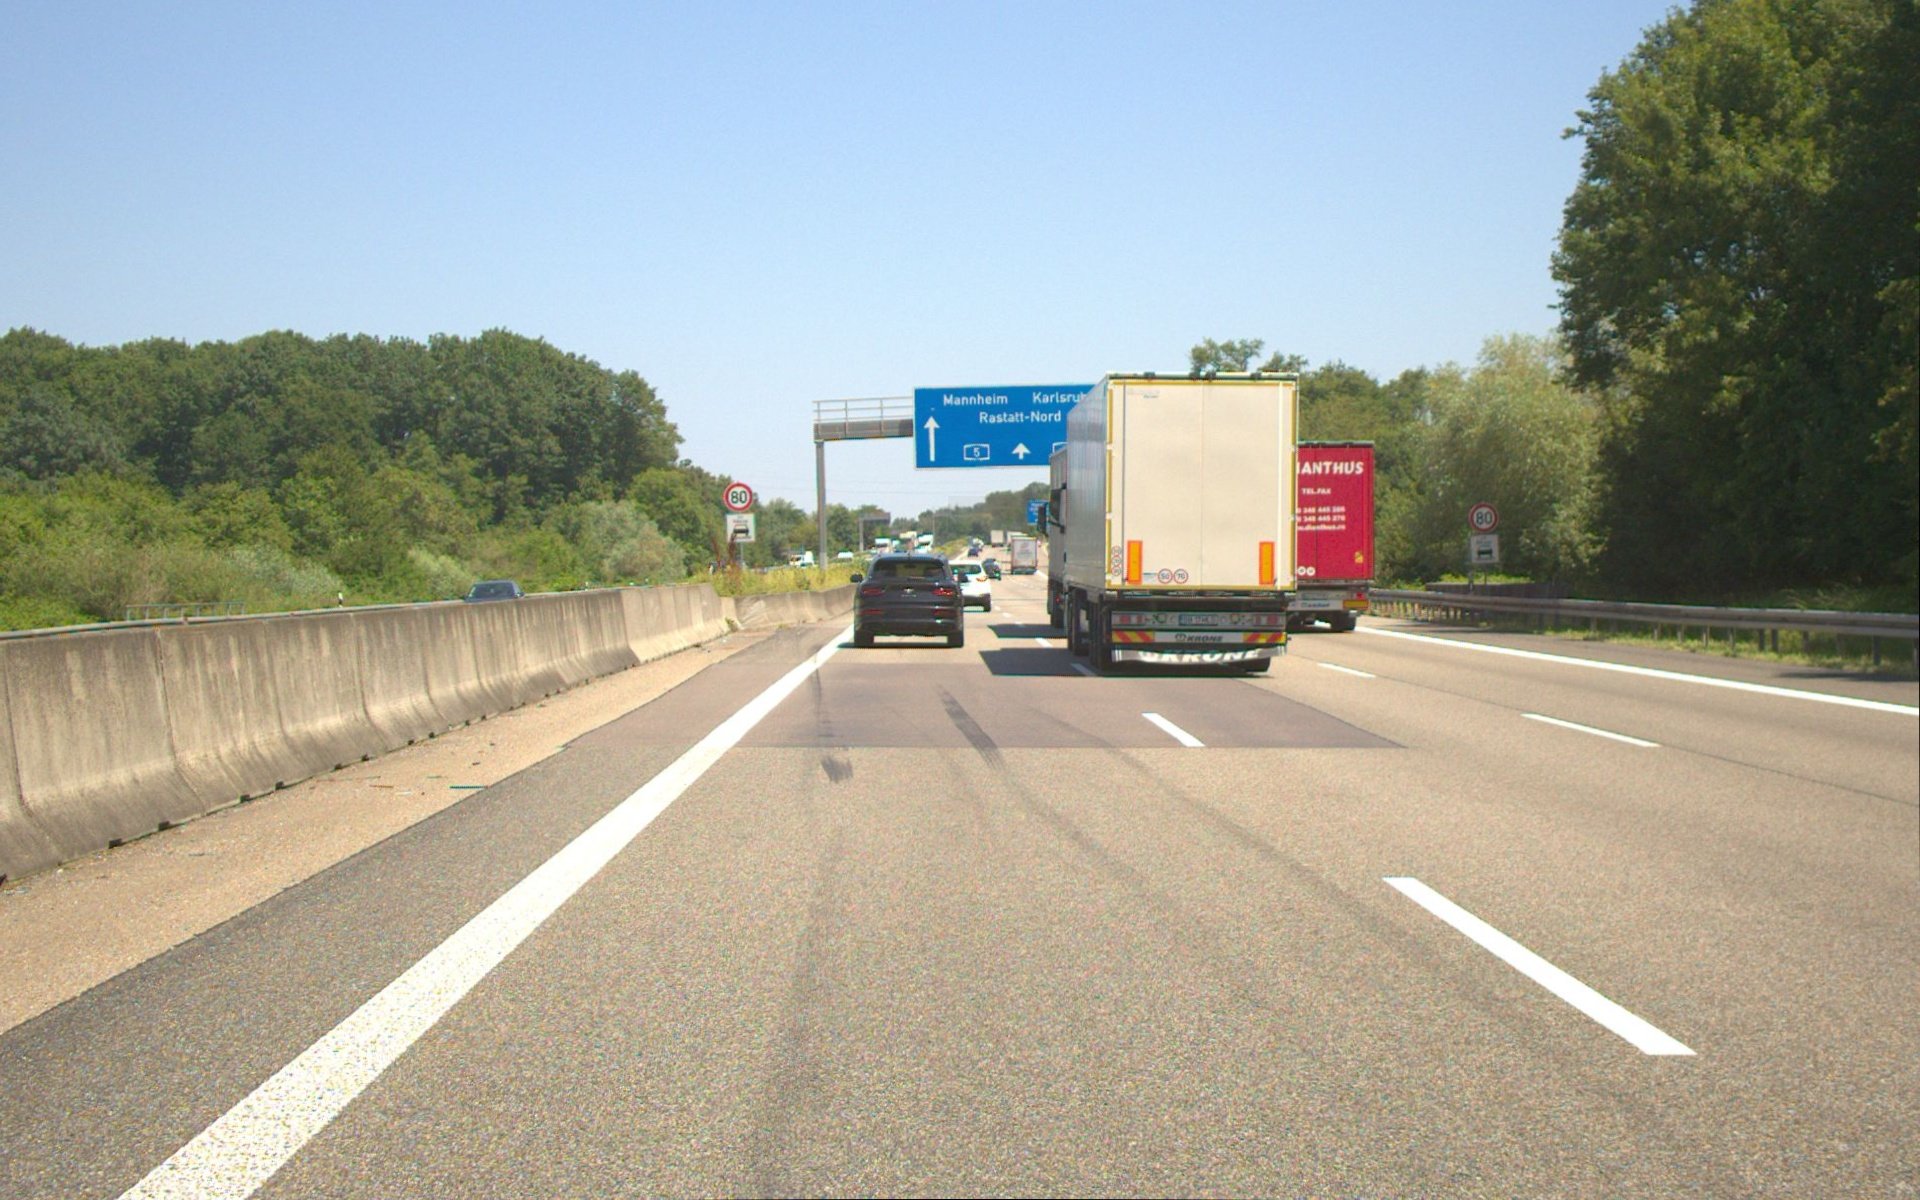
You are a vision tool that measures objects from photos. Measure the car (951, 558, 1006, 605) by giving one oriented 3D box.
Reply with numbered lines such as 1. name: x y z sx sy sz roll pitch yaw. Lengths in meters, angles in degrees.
1. car: 0.600 -0.621 110.478 1.740 1.481 4.000 0 1 1

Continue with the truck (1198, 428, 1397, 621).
1. truck: 7.681 -1.678 80.160 3.055 4.092 13.219 0 1 -1

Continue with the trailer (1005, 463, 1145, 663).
1. trailer: 2.434 -0.789 77.291 2.707 4.054 14.746 0 0 0

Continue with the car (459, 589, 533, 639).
1. car: -14.504 0.422 107.545 1.769 1.466 4.000 -2 1 0

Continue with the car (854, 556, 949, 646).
1. car: -1.072 -0.004 63.027 1.660 1.544 3.783 1 1 -1

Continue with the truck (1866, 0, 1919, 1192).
1. truck: 3.983 -0.437 6.242 2.941 3.972 6.102 0 1 -1

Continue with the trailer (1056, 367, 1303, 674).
1. trailer: 3.053 -1.124 51.328 2.795 4.021 12.568 0 1 0

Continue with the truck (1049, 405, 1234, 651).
1. truck: 3.026 -1.206 58.726 2.799 3.993 6.021 0 1 0
